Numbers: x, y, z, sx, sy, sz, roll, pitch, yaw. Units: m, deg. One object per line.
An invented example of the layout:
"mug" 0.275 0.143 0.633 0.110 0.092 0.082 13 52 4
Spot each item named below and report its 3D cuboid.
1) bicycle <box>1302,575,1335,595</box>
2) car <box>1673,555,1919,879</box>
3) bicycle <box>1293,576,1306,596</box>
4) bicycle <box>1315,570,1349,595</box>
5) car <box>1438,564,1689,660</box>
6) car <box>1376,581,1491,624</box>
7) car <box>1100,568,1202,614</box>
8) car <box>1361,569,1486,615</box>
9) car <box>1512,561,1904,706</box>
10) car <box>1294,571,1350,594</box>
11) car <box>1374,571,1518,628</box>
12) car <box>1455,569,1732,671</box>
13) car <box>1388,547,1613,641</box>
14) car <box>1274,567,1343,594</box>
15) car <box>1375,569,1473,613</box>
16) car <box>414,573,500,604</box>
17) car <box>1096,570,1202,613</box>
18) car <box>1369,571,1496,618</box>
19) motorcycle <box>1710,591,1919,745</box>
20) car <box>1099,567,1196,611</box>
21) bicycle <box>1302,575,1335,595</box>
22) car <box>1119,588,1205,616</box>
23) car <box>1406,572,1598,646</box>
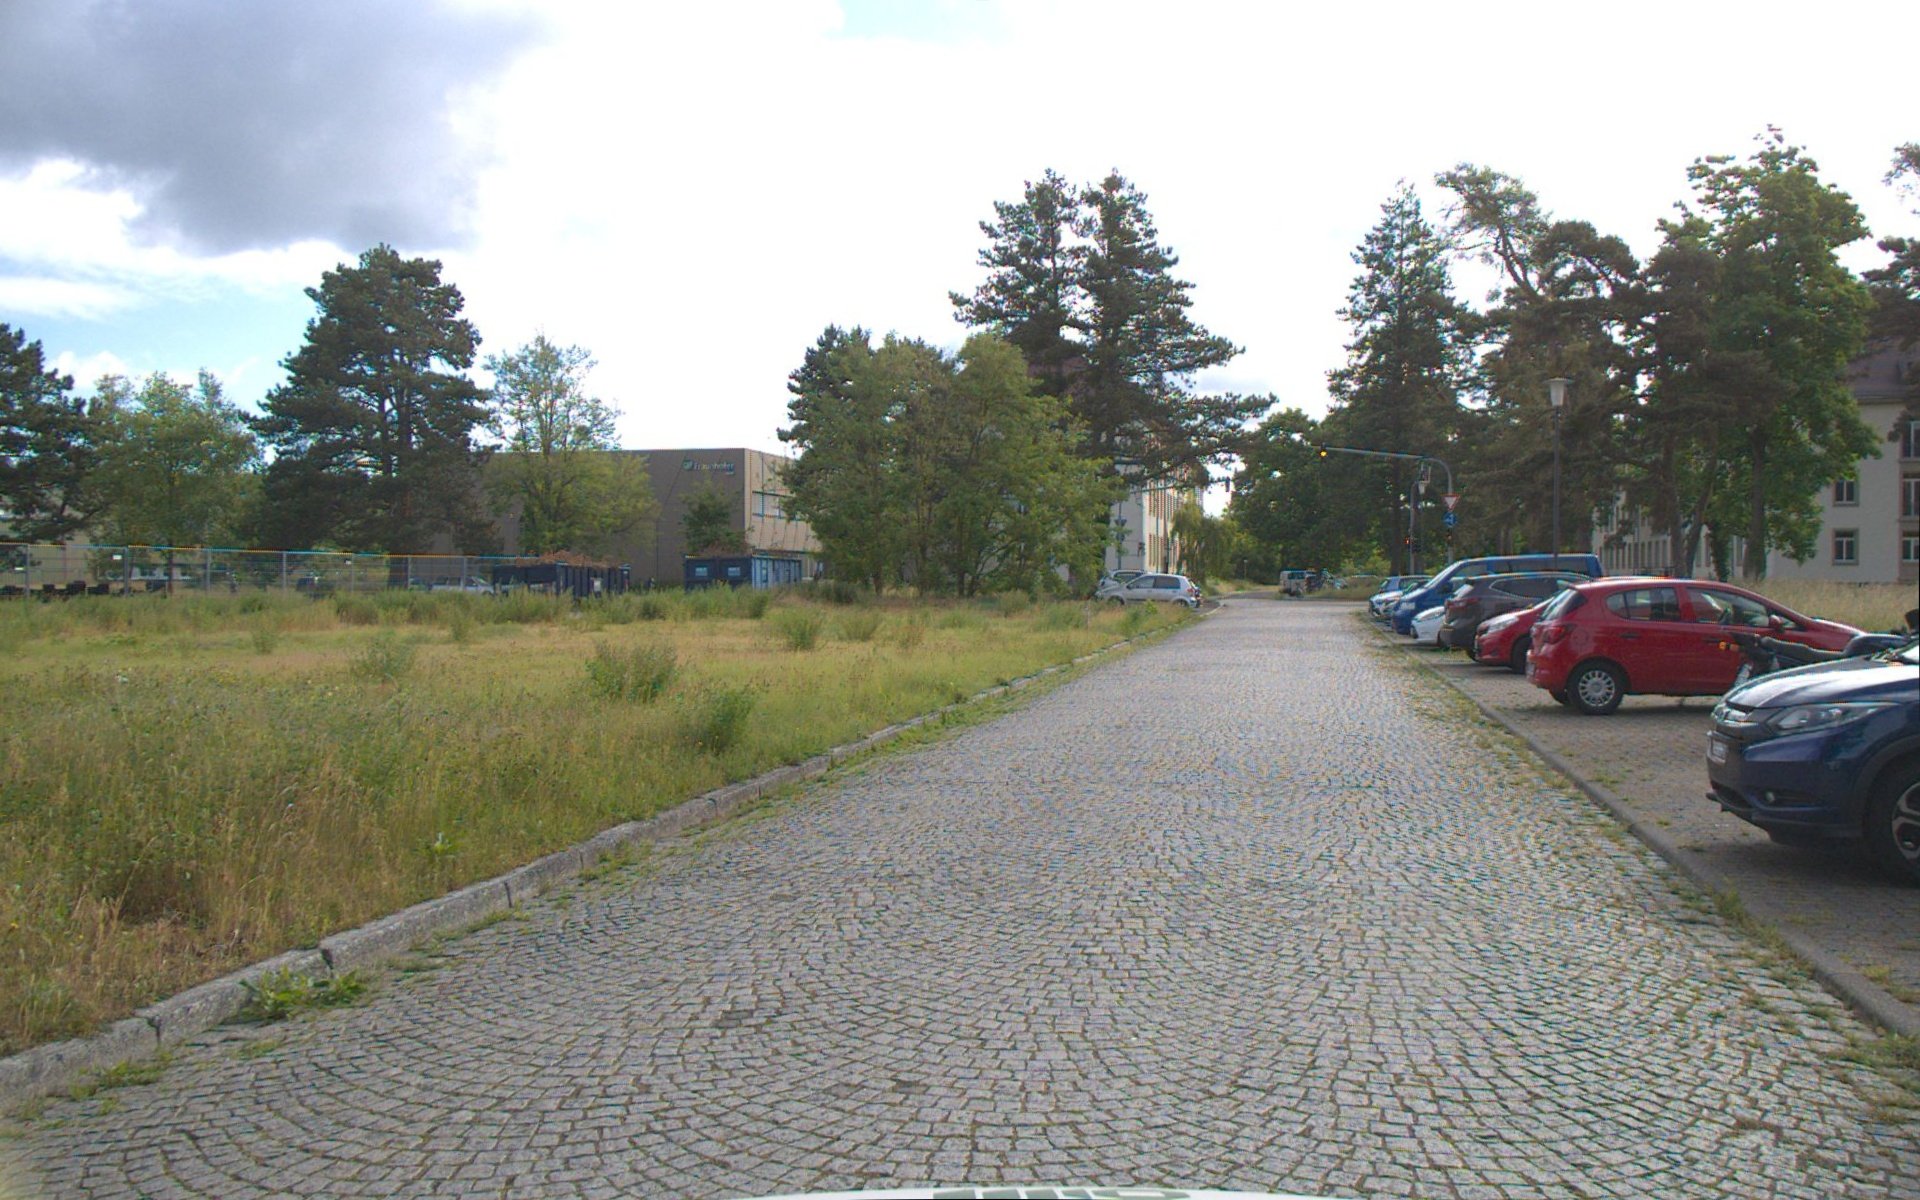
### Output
"bicycle" 23.778 -0.997 109.724 2.115 1.290 0.813 0 1 5
"car" 6.273 0.537 8.871 4.172 1.601 1.897 -1 1 12
"bicycle" 21.819 -0.909 106.294 0.792 1.290 1.975 0 1 13
"bicycle" 24.928 -1.159 110.806 2.115 1.644 0.813 0 1 5
"car" 10.466 0.182 28.941 3.866 1.608 1.764 0 1 10
"car" 14.692 0.063 51.450 3.222 1.289 1.665 0 1 6
"car" 7.479 -0.371 64.836 3.902 1.735 2.002 0 1 6
"car" 16.362 -0.298 58.557 4.035 1.570 1.665 0 1 6
"car" 8.417 0.363 18.921 3.757 1.532 1.740 -1 1 11
"car" 27.089 -1.311 123.904 3.902 1.673 2.002 0 1 6
"car" 13.476 -0.036 45.983 3.523 1.533 1.664 0 1 1
"car" 10.011 0.287 26.395 3.902 1.545 1.740 0 1 12
"car" 12.237 -0.139 37.699 4.680 2.075 1.740 0 1 10
"car" 26.825 -1.478 127.312 4.946 2.049 2.001 0 1 1
"car" 17.099 -0.330 61.030 3.317 1.570 1.392 0 1 6
"car" -26.539 -0.612 87.302 3.902 1.580 1.810 0 1 11
"car" 7.102 -0.323 62.321 3.902 1.579 2.002 0 1 6
"car" 15.897 -0.195 55.787 3.902 1.570 1.665 0 1 6
"motorcycle" 7.808 0.582 14.438 2.216 1.297 0.606 -1 0 7
"car" 7.654 -0.471 67.778 3.903 1.780 1.928 0 1 5
"bicycle" 23.893 -0.999 110.301 2.115 1.290 0.813 0 1 5
"car" 8.526 0.088 69.991 3.593 1.113 1.647 0 1 6
"car" 11.507 0.186 35.313 3.643 1.449 1.656 -1 1 9
